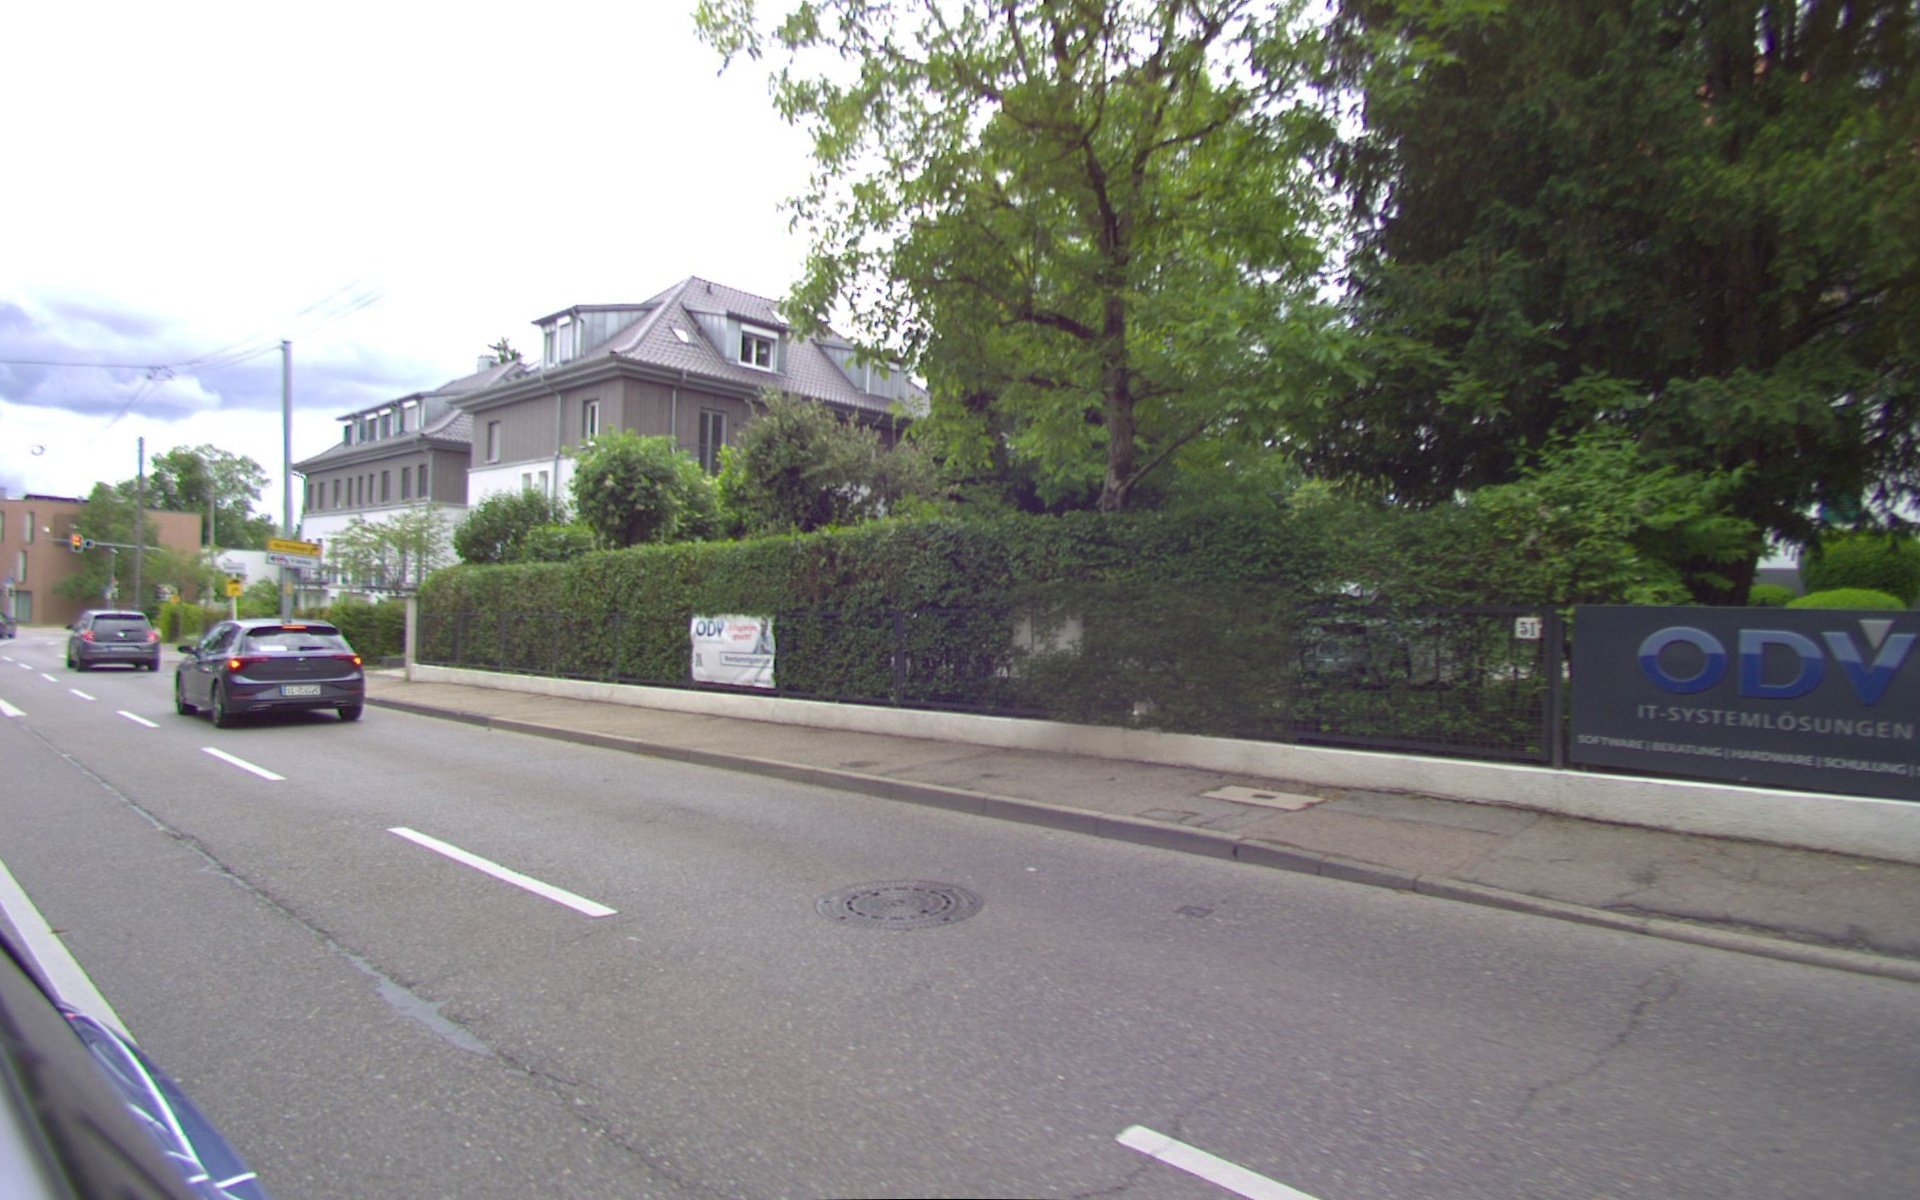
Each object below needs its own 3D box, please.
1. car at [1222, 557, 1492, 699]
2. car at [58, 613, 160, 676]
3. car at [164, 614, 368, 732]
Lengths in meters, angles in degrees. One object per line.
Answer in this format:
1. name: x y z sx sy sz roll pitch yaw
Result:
1. car: 5.316 0.346 13.290 2.000 1.564 3.943 0 -1 43
2. car: -22.304 1.136 26.501 3.537 1.530 1.665 -1 -2 44
3. car: -10.185 0.982 14.736 4.018 1.483 1.662 -2 -2 44
